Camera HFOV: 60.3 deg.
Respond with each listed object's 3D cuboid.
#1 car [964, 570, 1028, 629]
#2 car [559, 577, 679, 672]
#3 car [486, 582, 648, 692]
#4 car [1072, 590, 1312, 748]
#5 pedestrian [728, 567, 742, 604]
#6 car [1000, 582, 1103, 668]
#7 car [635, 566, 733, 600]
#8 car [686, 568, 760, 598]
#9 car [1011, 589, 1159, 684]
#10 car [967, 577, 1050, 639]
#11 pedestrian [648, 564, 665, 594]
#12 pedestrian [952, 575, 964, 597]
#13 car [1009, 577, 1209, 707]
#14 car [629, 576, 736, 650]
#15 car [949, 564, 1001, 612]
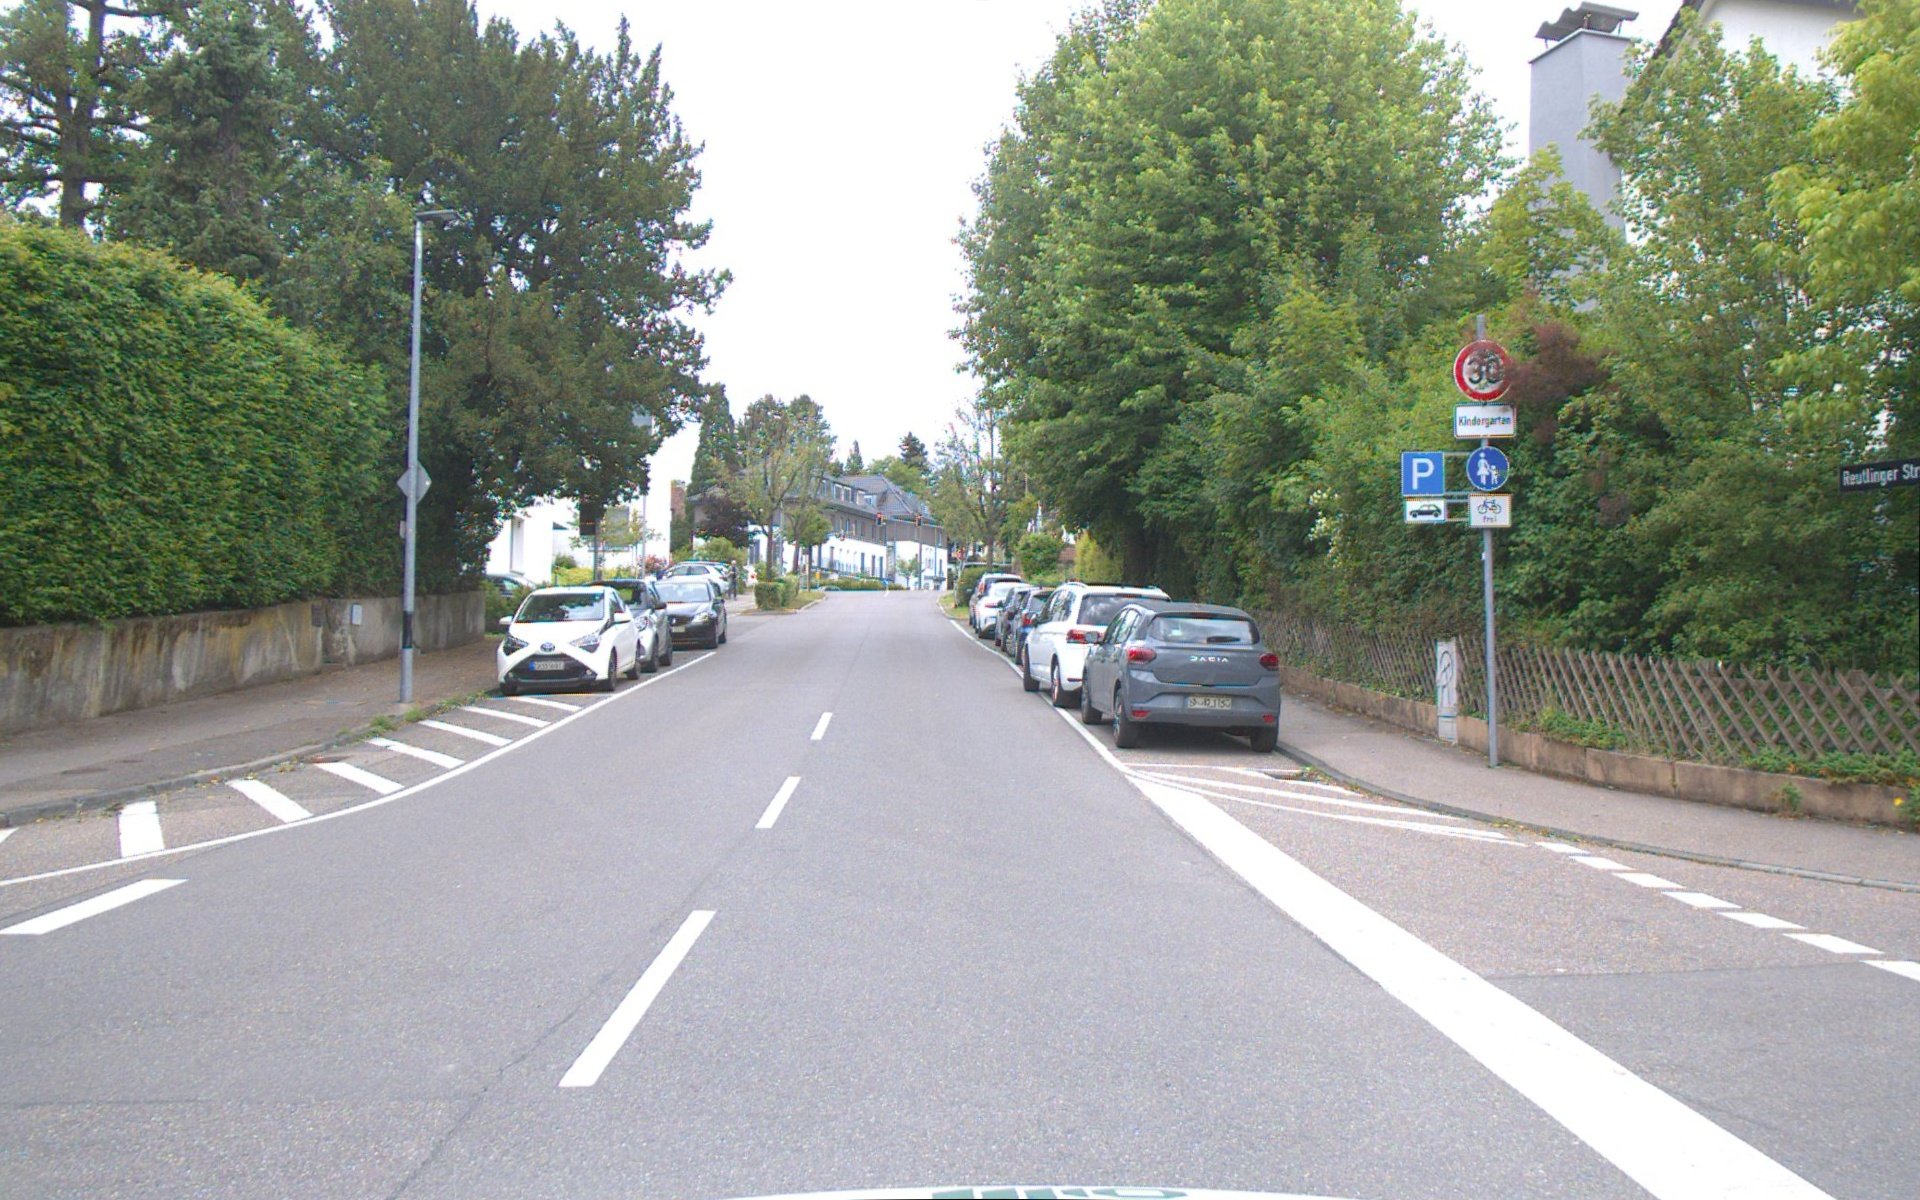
[{"bbox_3d":[1.064,-0.043,50.593,1.682,1.661,3.927,2,1,-2],"label":"car"},{"bbox_3d":[-5.841,0.389,28.579,1.591,1.545,2.974,0,0,-3],"label":"car"},{"bbox_3d":[-5.706,0.492,24.378,1.710,1.473,3.512,0,1,-3],"label":"car"},{"bbox_3d":[2.506,0.685,18.971,1.899,1.517,4.454,0,1,-3],"label":"car"},{"bbox_3d":[-10.403,-0.677,76.405,0.581,1.669,0.565,0,1,-1],"label":"pedestrian"},{"bbox_3d":[1.793,0.460,33.537,1.663,1.534,4.159,2,1,-2],"label":"car"},{"bbox_3d":[-12.914,-0.816,77.601,4.299,1.594,2.065,0,1,-4],"label":"car"},{"bbox_3d":[-13.785,-0.996,96.413,4.177,1.651,2.012,-1,0,-5],"label":"car"},{"bbox_3d":[2.062,0.568,28.572,1.775,1.478,4.373,0,1,-6],"label":"car"},{"bbox_3d":[1.241,0.170,44.297,1.953,1.517,5.003,0,1,-1],"label":"car"},{"bbox_3d":[-13.826,-0.958,75.374,0.595,1.305,0.899,2,1,-2],"label":"pedestrian"},{"bbox_3d":[-0.122,-1.082,129.384,0.671,1.711,0.699,1,1,31],"label":"pedestrian"},{"bbox_3d":[2.018,0.512,23.895,1.962,1.636,4.752,0,1,-7],"label":"car"},{"bbox_3d":[-6.036,0.240,36.408,1.814,1.495,4.680,0,1,-3],"label":"car"},{"bbox_3d":[0.574,-0.509,66.887,1.897,1.870,5.217,0,1,-2],"label":"car"}]
